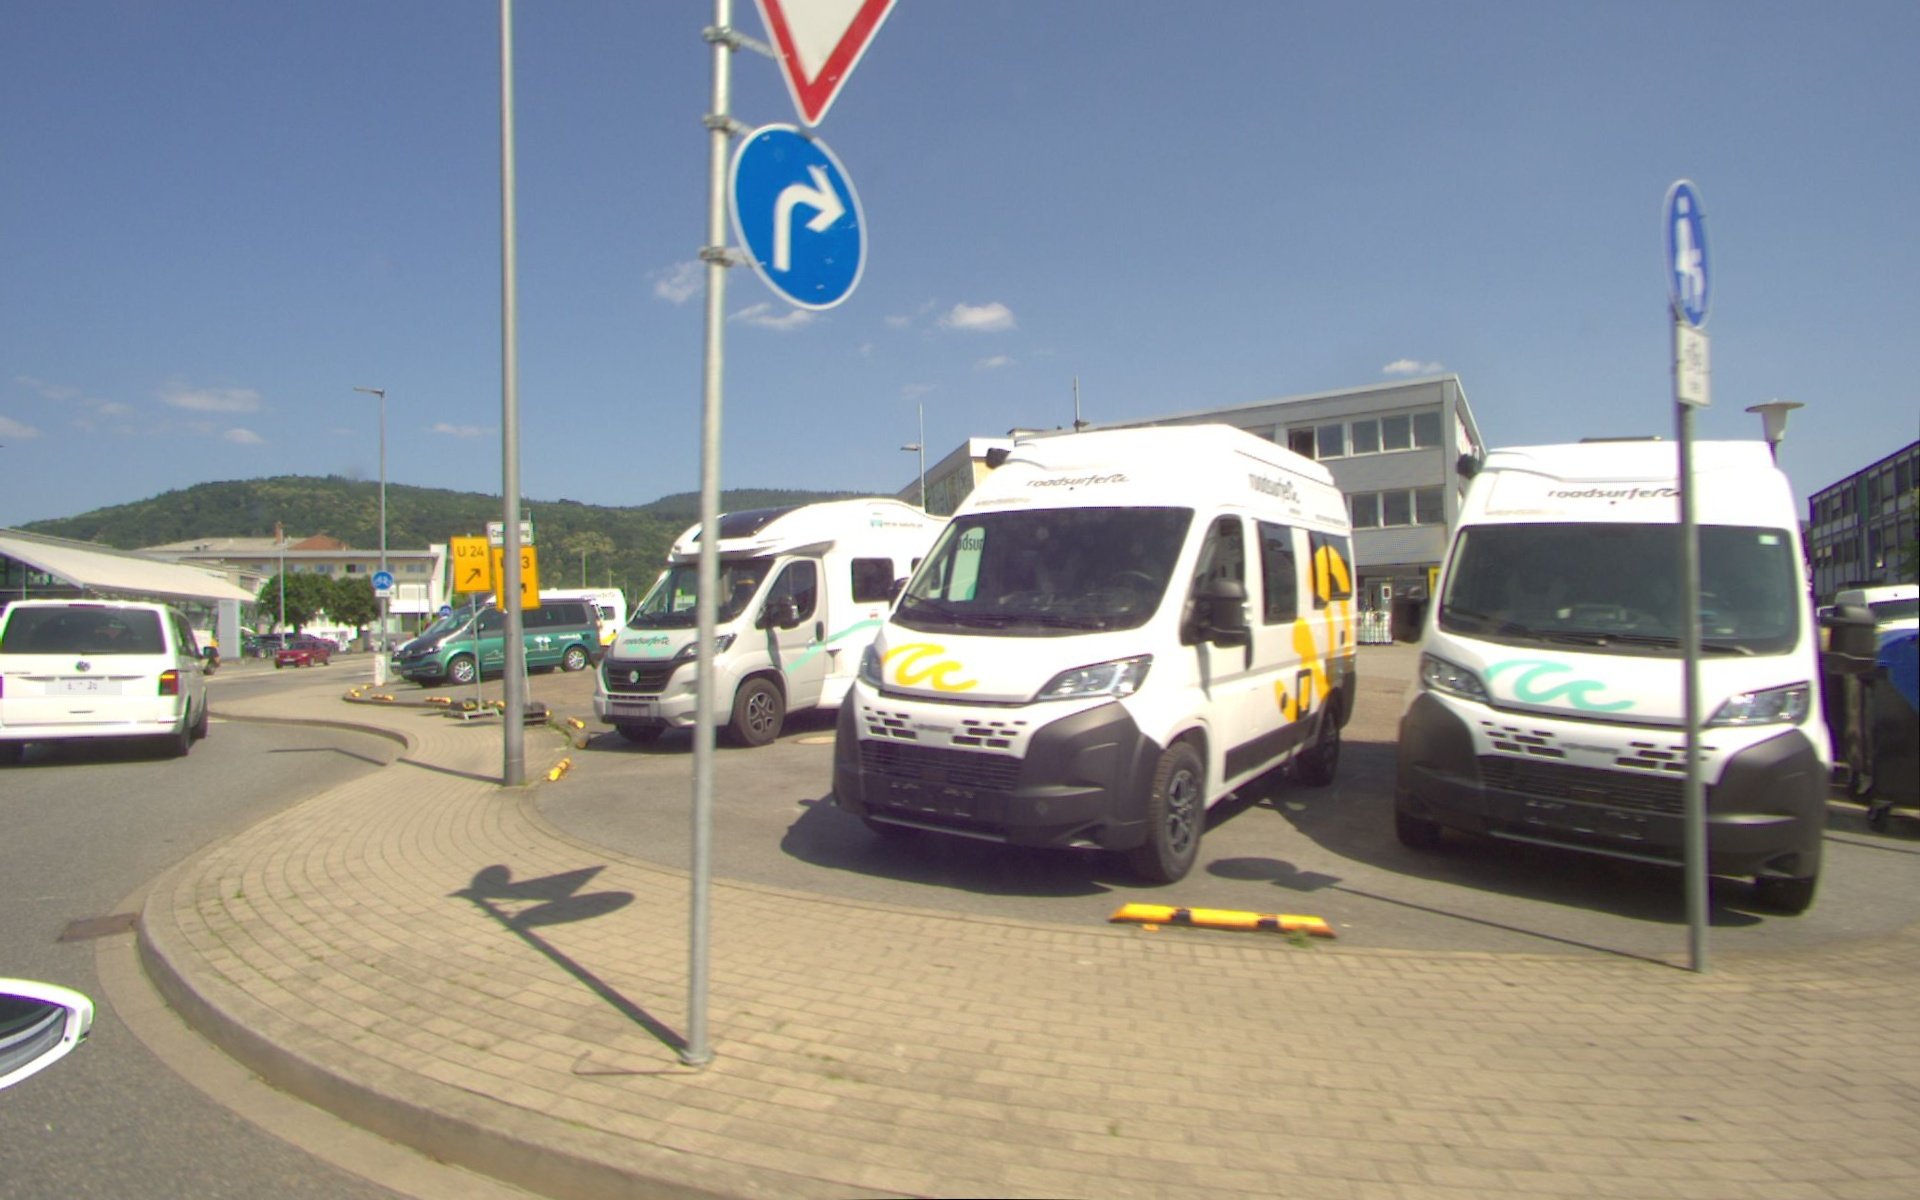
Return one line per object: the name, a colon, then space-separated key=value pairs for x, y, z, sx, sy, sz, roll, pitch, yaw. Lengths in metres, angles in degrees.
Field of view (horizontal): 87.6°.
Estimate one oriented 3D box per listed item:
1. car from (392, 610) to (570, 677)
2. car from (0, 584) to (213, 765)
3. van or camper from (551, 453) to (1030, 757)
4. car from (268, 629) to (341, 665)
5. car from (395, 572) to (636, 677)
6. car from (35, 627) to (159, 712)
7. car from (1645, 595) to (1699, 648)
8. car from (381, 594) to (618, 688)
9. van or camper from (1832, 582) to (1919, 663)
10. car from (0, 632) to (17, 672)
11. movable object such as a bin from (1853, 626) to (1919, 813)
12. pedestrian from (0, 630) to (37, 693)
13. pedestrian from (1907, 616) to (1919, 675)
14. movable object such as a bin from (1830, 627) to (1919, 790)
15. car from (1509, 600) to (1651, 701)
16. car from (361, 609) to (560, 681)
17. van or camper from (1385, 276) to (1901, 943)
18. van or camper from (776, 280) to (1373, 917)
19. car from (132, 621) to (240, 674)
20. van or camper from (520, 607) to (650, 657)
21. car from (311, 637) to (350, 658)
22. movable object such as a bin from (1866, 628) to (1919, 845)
car: x=-16.180 y=1.434 z=34.058 sx=1.911 sy=2.040 sz=5.101 roll=-2 pitch=-1 yaw=45
car: x=-11.698 y=0.947 z=13.756 sx=2.143 sy=2.039 sz=4.984 roll=3 pitch=-3 yaw=-36
van or camper: x=-1.690 y=0.068 z=13.464 sx=2.301 sy=2.985 sz=7.050 roll=-2 pitch=0 yaw=30
car: x=-36.355 y=2.587 z=55.666 sx=1.991 sy=1.861 sz=4.863 roll=0 pitch=-2 yaw=-16
car: x=-12.862 y=0.704 z=29.405 sx=2.279 sy=2.752 sz=6.113 roll=-1 pitch=-1 yaw=38
car: x=-19.955 y=1.519 z=23.081 sx=1.980 sy=1.755 sz=4.521 roll=1 pitch=-2 yaw=-43
car: x=36.532 y=1.151 z=51.489 sx=2.083 sy=2.558 sz=5.575 roll=-1 pitch=-2 yaw=34
car: x=-11.654 y=0.997 z=25.708 sx=2.070 sy=2.141 sz=5.193 roll=-2 pitch=-1 yaw=36
van or camper: x=33.811 y=0.836 z=36.175 sx=2.312 sy=2.713 sz=6.711 roll=-1 pitch=-2 yaw=31
car: x=-40.094 y=2.122 z=39.959 sx=1.964 sy=1.639 sz=3.994 roll=-1 pitch=-1 yaw=-16
movable object such as a bin: x=8.142 y=0.969 z=8.342 sx=1.008 sy=1.476 sz=1.280 roll=1 pitch=0 yaw=41
pedestrian: x=-25.593 y=1.661 z=27.116 sx=0.663 sy=1.677 sz=0.757 roll=-1 pitch=-1 yaw=33
pedestrian: x=26.535 y=1.240 z=27.282 sx=0.871 sy=1.599 sz=0.786 roll=-1 pitch=-1 yaw=31
movable object such as a bin: x=9.231 y=1.027 z=9.786 sx=1.007 sy=1.495 sz=1.231 roll=1 pitch=0 yaw=38
car: x=10.900 y=0.833 z=17.849 sx=1.787 sy=1.535 sz=3.882 roll=2 pitch=0 yaw=27
car: x=-15.313 y=1.328 z=30.957 sx=2.002 sy=2.026 sz=5.118 roll=-3 pitch=-2 yaw=41
van or camper: x=4.706 y=0.111 z=7.132 sx=2.019 sy=2.851 sz=5.493 roll=1 pitch=-1 yaw=34
van or camper: x=1.409 y=0.037 z=7.427 sx=2.061 sy=2.810 sz=5.798 roll=0 pitch=-1 yaw=33
car: x=-32.904 y=1.967 z=42.760 sx=1.992 sy=2.141 sz=4.926 roll=0 pitch=-1 yaw=-16
van or camper: x=-20.555 y=1.759 z=55.298 sx=6.406 sy=2.594 sz=2.971 roll=0 pitch=-1 yaw=-14
car: x=-51.074 y=3.864 z=81.273 sx=3.620 sy=1.605 sz=1.737 roll=-2 pitch=-2 yaw=41
movable object such as a bin: x=7.172 y=0.950 z=7.105 sx=1.067 sy=1.476 sz=1.246 roll=1 pitch=0 yaw=43
